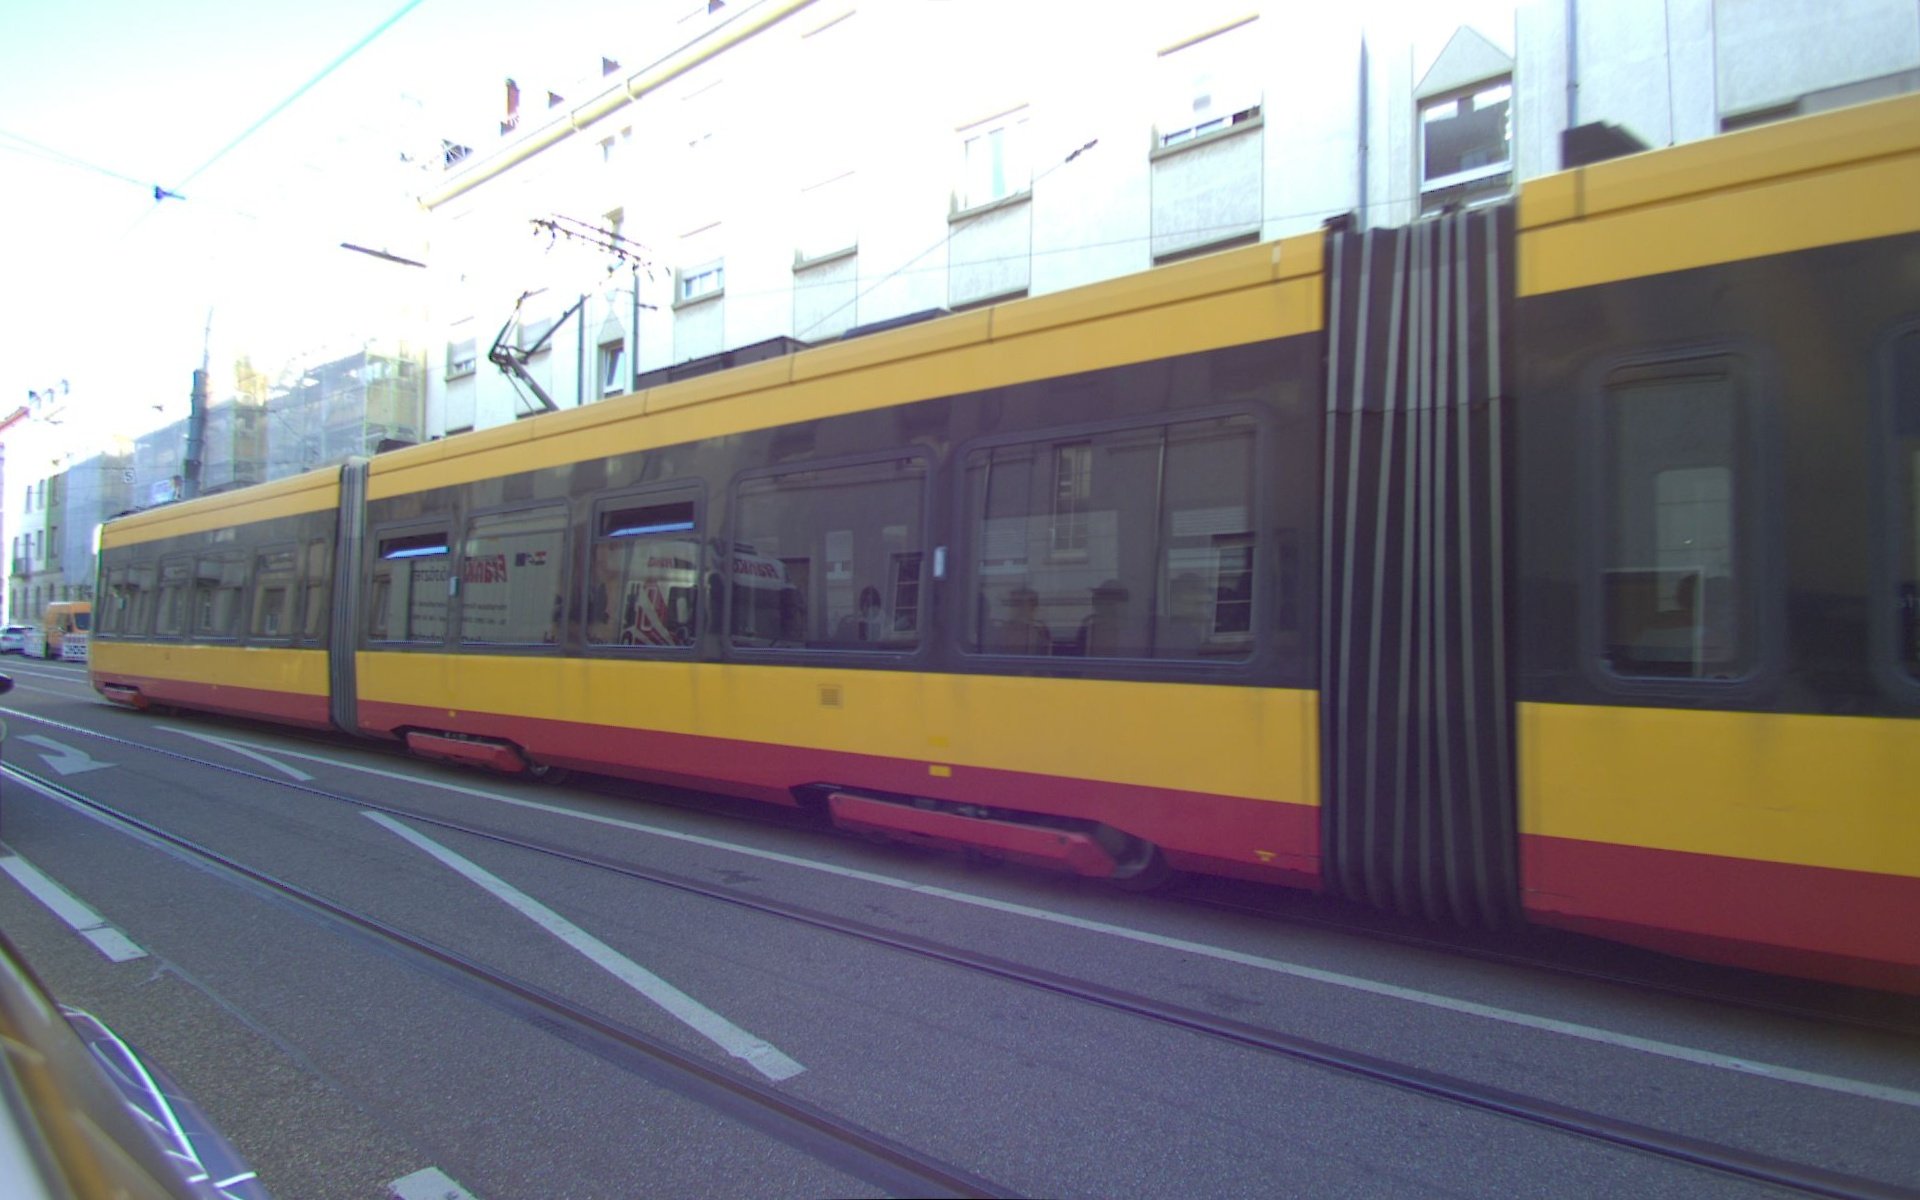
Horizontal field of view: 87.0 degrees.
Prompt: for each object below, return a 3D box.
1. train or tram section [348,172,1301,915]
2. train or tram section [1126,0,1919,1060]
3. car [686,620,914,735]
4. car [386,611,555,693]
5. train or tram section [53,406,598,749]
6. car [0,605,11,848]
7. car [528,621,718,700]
[{"bbox_3d":[-2.003,-0.232,8.917,9.072,3.658,2.798,-1,0,38],"label":"train or tram section"},{"bbox_3d":[7.265,-0.443,1.583,14.243,3.659,2.719,-1,0,38],"label":"train or tram section"},{"bbox_3d":[-2.585,1.136,16.075,3.493,1.584,1.650,-1,0,38],"label":"car"},{"bbox_3d":[-10.749,1.066,22.141,4.108,1.603,1.691,-1,0,38],"label":"car"},{"bbox_3d":[-10.587,-0.102,15.753,12.613,3.621,3.032,-1,-3,38],"label":"train or tram section"},{"bbox_3d":[-8.022,0.804,6.987,3.997,1.515,1.670,-2,-3,40],"label":"car"},{"bbox_3d":[-6.379,1.073,19.049,3.483,1.286,1.730,-1,0,37],"label":"car"}]
